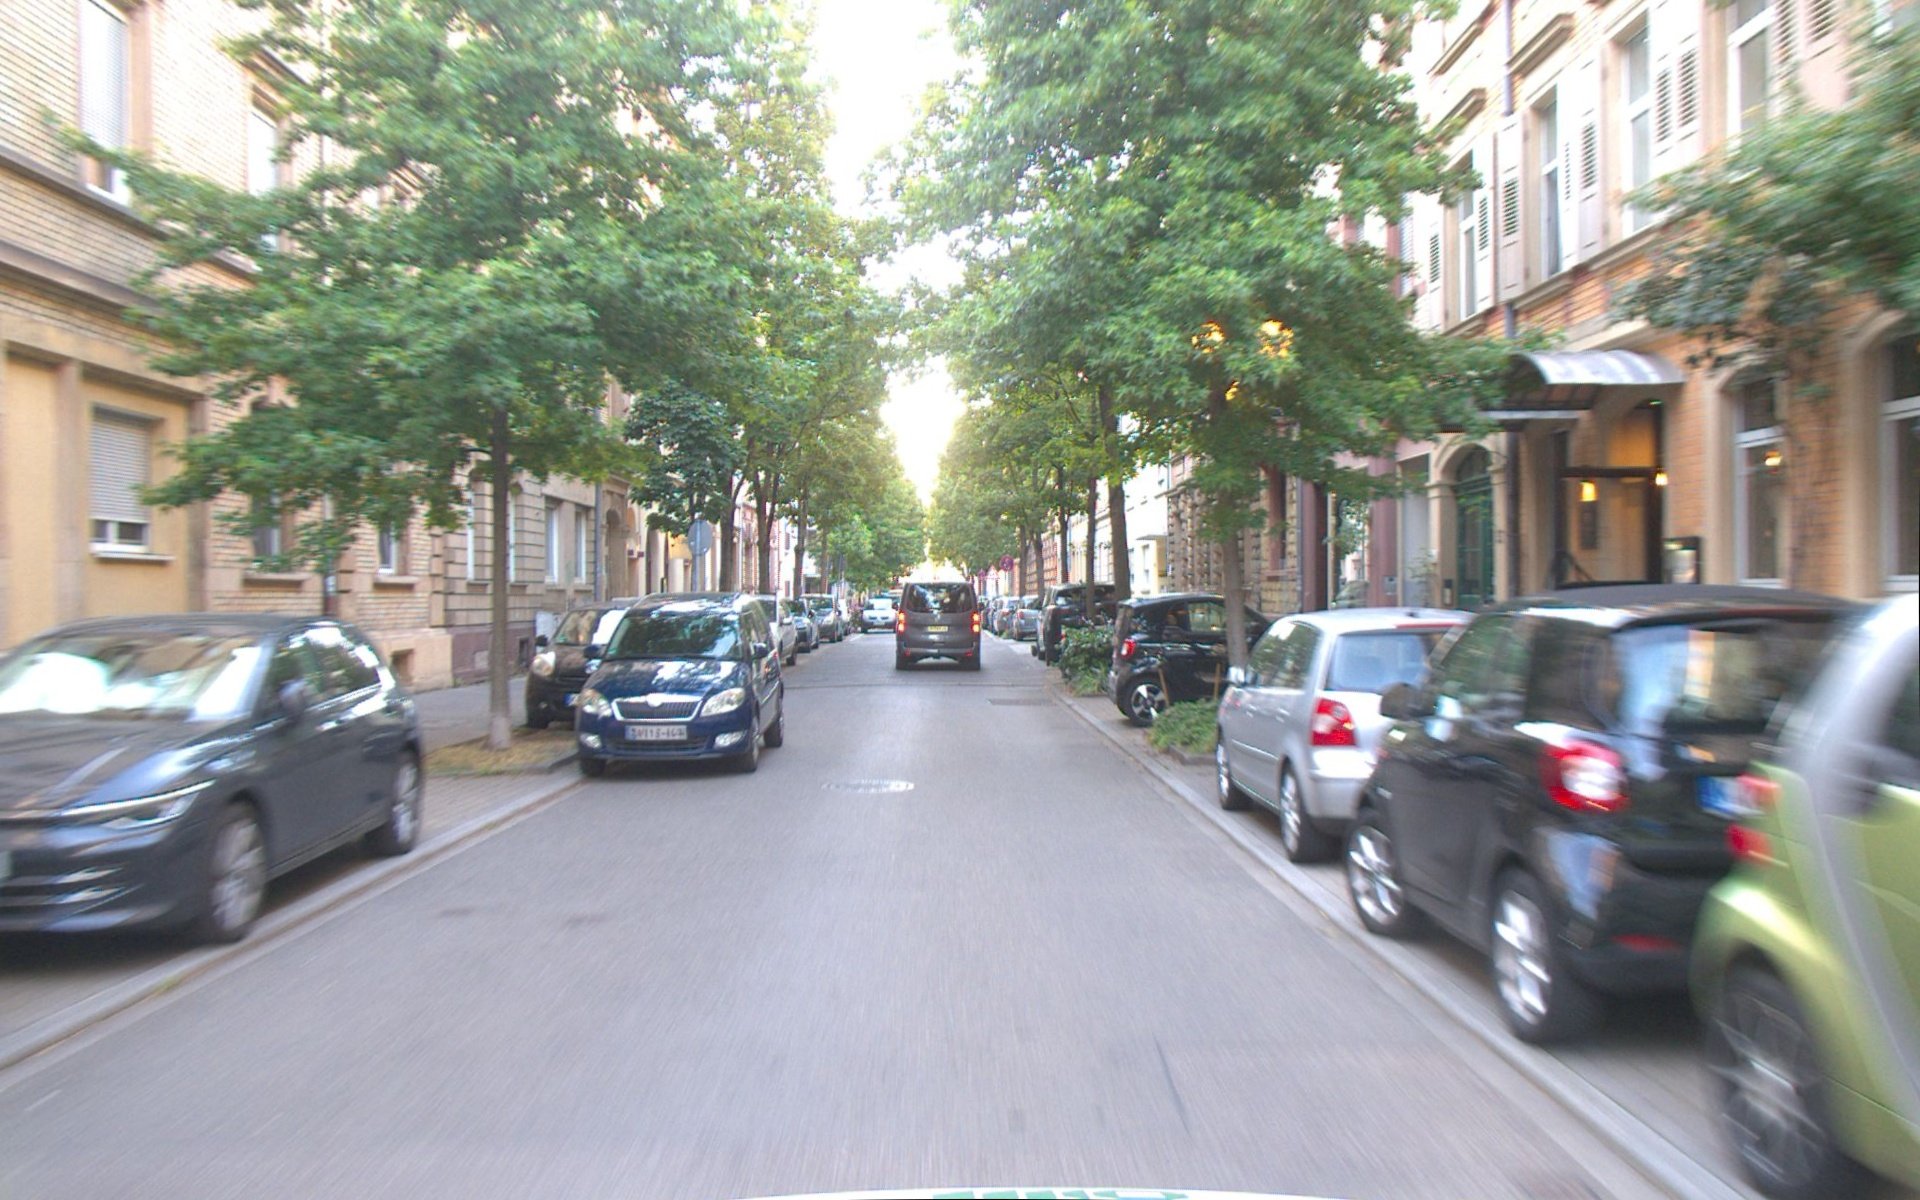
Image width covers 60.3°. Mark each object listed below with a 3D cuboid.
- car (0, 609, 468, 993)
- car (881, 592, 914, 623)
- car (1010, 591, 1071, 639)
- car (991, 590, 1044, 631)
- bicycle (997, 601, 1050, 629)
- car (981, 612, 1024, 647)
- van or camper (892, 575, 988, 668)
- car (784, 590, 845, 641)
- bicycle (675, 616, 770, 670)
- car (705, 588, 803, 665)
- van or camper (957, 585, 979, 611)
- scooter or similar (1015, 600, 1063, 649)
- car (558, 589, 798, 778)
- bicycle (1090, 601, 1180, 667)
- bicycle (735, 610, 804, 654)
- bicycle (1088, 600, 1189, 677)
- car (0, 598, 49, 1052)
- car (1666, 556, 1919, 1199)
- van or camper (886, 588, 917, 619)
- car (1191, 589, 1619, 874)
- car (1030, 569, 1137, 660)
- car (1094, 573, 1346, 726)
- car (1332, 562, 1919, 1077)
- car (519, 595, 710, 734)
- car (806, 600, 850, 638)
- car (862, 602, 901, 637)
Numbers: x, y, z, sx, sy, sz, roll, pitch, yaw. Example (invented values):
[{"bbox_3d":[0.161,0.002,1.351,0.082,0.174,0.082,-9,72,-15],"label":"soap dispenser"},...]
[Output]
[{"bbox_3d":[-4.038,0.821,8.729,1.731,1.488,4.257,-1,0,-2],"label":"car"},{"bbox_3d":[-3.361,0.382,88.910,1.630,1.590,3.997,-1,0,-4],"label":"car"},{"bbox_3d":[2.684,0.480,56.037,1.723,1.488,4.307,-1,0,-1],"label":"car"},{"bbox_3d":[2.217,0.380,64.943,1.682,1.502,4.366,-2,0,-2],"label":"car"},{"bbox_3d":[2.396,0.559,62.046,1.889,0.999,0.634,-1,0,-23],"label":"bicycle"},{"bbox_3d":[1.894,1.311,75.129,1.731,1.439,4.473,-3,0,0],"label":"car"},{"bbox_3d":[-0.378,0.446,36.919,1.993,1.931,4.271,0,0,1],"label":"van or camper"},{"bbox_3d":[-4.869,0.477,55.689,1.671,1.608,4.078,1,1,0],"label":"car"},{"bbox_3d":[-4.848,0.883,33.741,1.836,1.078,0.593,1,0,-20],"label":"bicycle"},{"bbox_3d":[-4.563,0.548,37.153,1.641,1.635,3.862,0,0,1],"label":"car"},{"bbox_3d":[0.782,-0.206,167.142,1.953,2.644,5.422,-1,0,-2],"label":"van or camper"},{"bbox_3d":[2.028,0.627,42.551,0.663,1.211,1.111,-4,-1,38],"label":"scooter or similar"},{"bbox_3d":[-2.629,0.707,16.324,1.688,1.601,4.219,-1,0,-1],"label":"car"},{"bbox_3d":[3.344,0.641,31.725,1.661,1.219,0.582,-1,0,2],"label":"bicycle"},{"bbox_3d":[-4.812,0.809,41.807,1.649,1.021,0.430,2,0,1],"label":"bicycle"},{"bbox_3d":[3.324,0.702,30.908,1.726,1.316,0.801,-3,0,-1],"label":"bicycle"},{"bbox_3d":[-4.050,0.771,3.840,1.649,1.536,4.113,0,0,-1],"label":"car"},{"bbox_3d":[2.858,0.674,3.342,1.435,1.579,2.915,-2,0,-4],"label":"car"},{"bbox_3d":[-3.706,0.200,104.167,1.839,1.875,4.750,-1,0,-2],"label":"van or camper"},{"bbox_3d":[2.725,0.707,11.103,1.698,1.517,4.103,-1,0,-1],"label":"car"},{"bbox_3d":[2.783,0.303,38.335,1.973,1.865,4.810,-3,0,-1],"label":"car"},{"bbox_3d":[3.159,0.585,20.503,2.741,1.627,1.800,-4,0,-1],"label":"car"},{"bbox_3d":[2.701,0.672,6.728,1.559,1.588,3.121,-1,0,-2],"label":"car"},{"bbox_3d":[-4.130,0.719,20.295,1.657,1.528,3.710,1,0,-2],"label":"car"},{"bbox_3d":[-5.256,0.739,66.146,1.555,1.462,3.565,1,0,-1],"label":"car"},{"bbox_3d":[-3.373,0.827,71.590,1.548,1.445,3.752,-1,0,-1],"label":"car"}]
